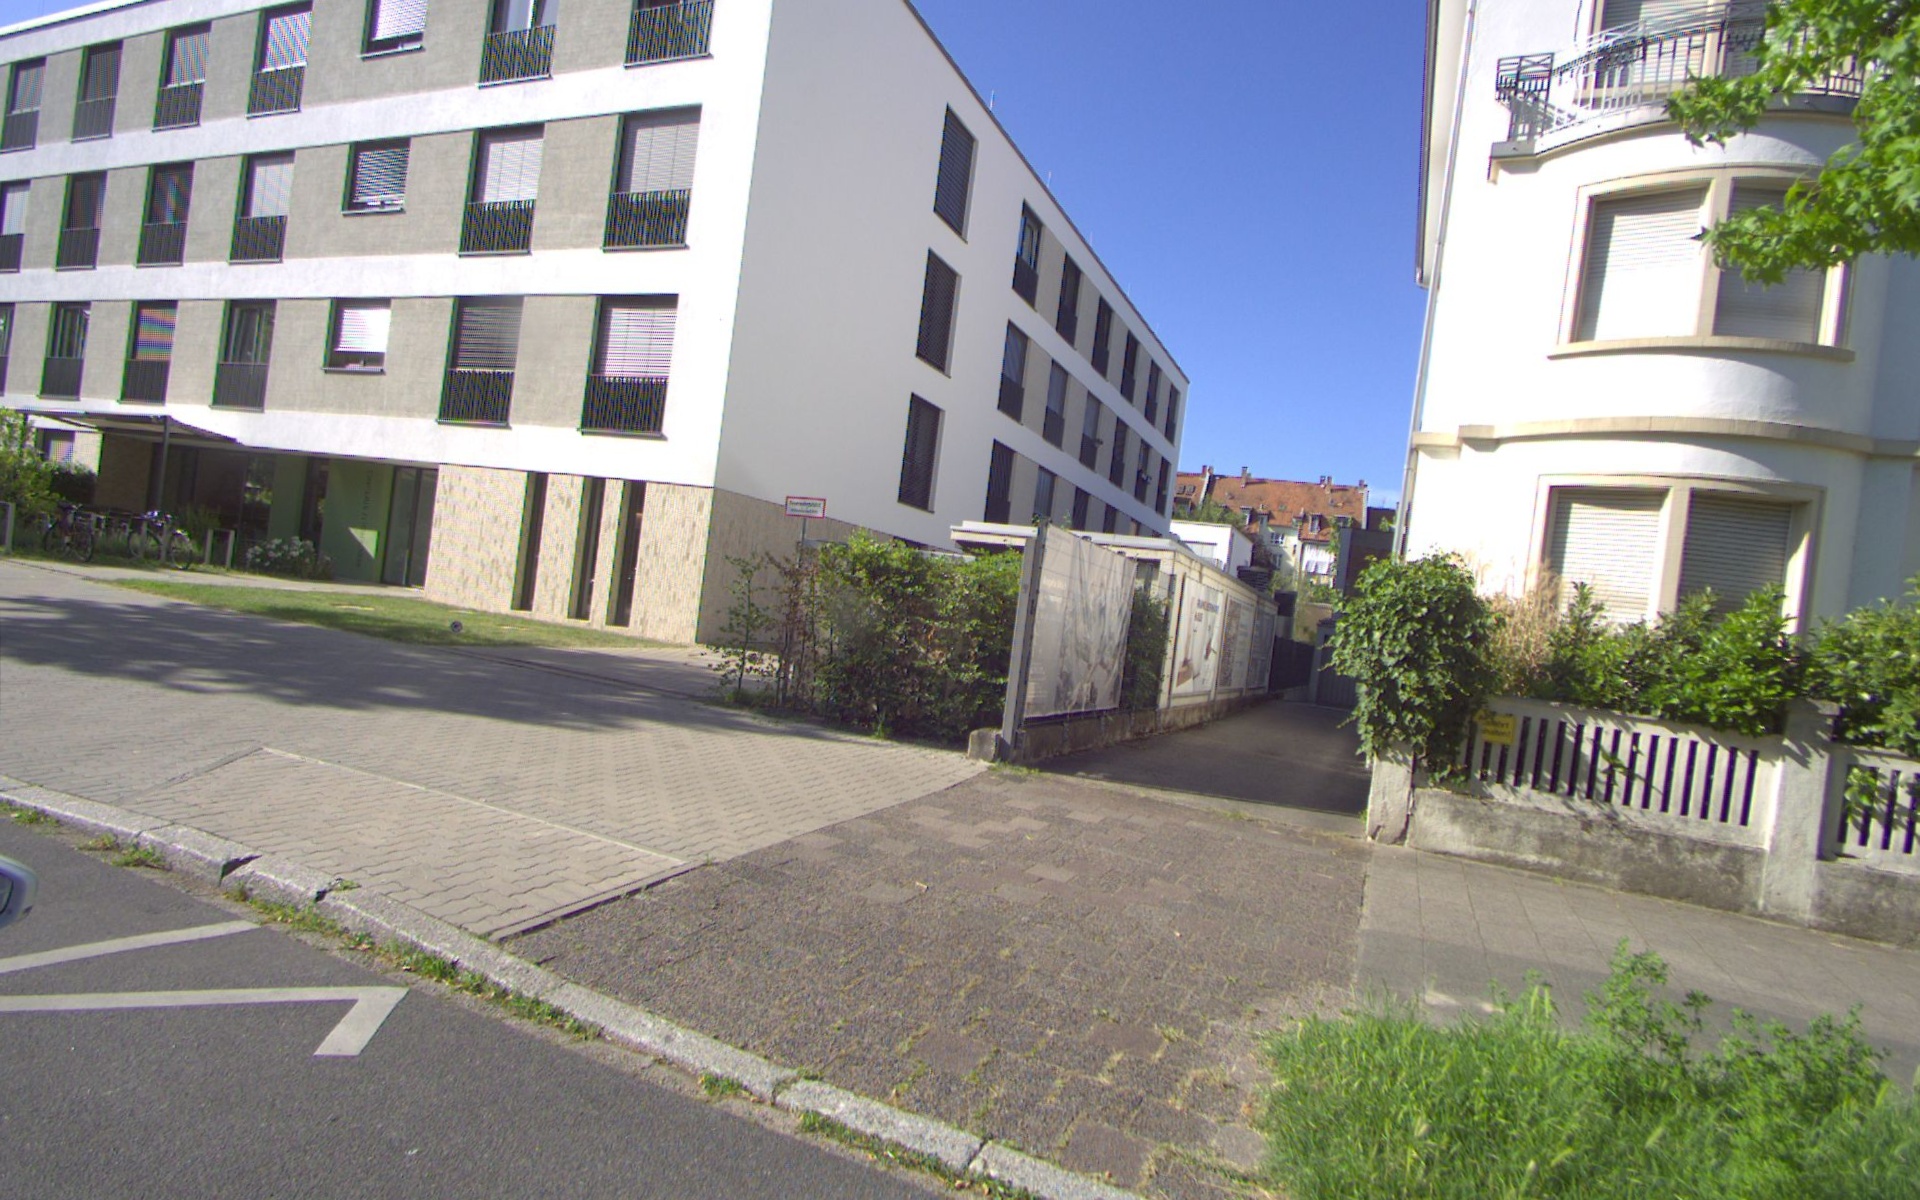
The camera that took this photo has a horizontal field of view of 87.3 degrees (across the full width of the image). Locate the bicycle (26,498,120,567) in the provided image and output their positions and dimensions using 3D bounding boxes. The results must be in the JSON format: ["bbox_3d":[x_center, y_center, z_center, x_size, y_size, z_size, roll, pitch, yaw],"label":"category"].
[{"bbox_3d":[-16.314,-1.247,18.504,1.660,1.068,0.547,7,1,22],"label":"bicycle"}]

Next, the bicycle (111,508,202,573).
[{"bbox_3d":[-15.795,-1.170,19.768,1.747,1.068,0.547,7,1,22],"label":"bicycle"}]
